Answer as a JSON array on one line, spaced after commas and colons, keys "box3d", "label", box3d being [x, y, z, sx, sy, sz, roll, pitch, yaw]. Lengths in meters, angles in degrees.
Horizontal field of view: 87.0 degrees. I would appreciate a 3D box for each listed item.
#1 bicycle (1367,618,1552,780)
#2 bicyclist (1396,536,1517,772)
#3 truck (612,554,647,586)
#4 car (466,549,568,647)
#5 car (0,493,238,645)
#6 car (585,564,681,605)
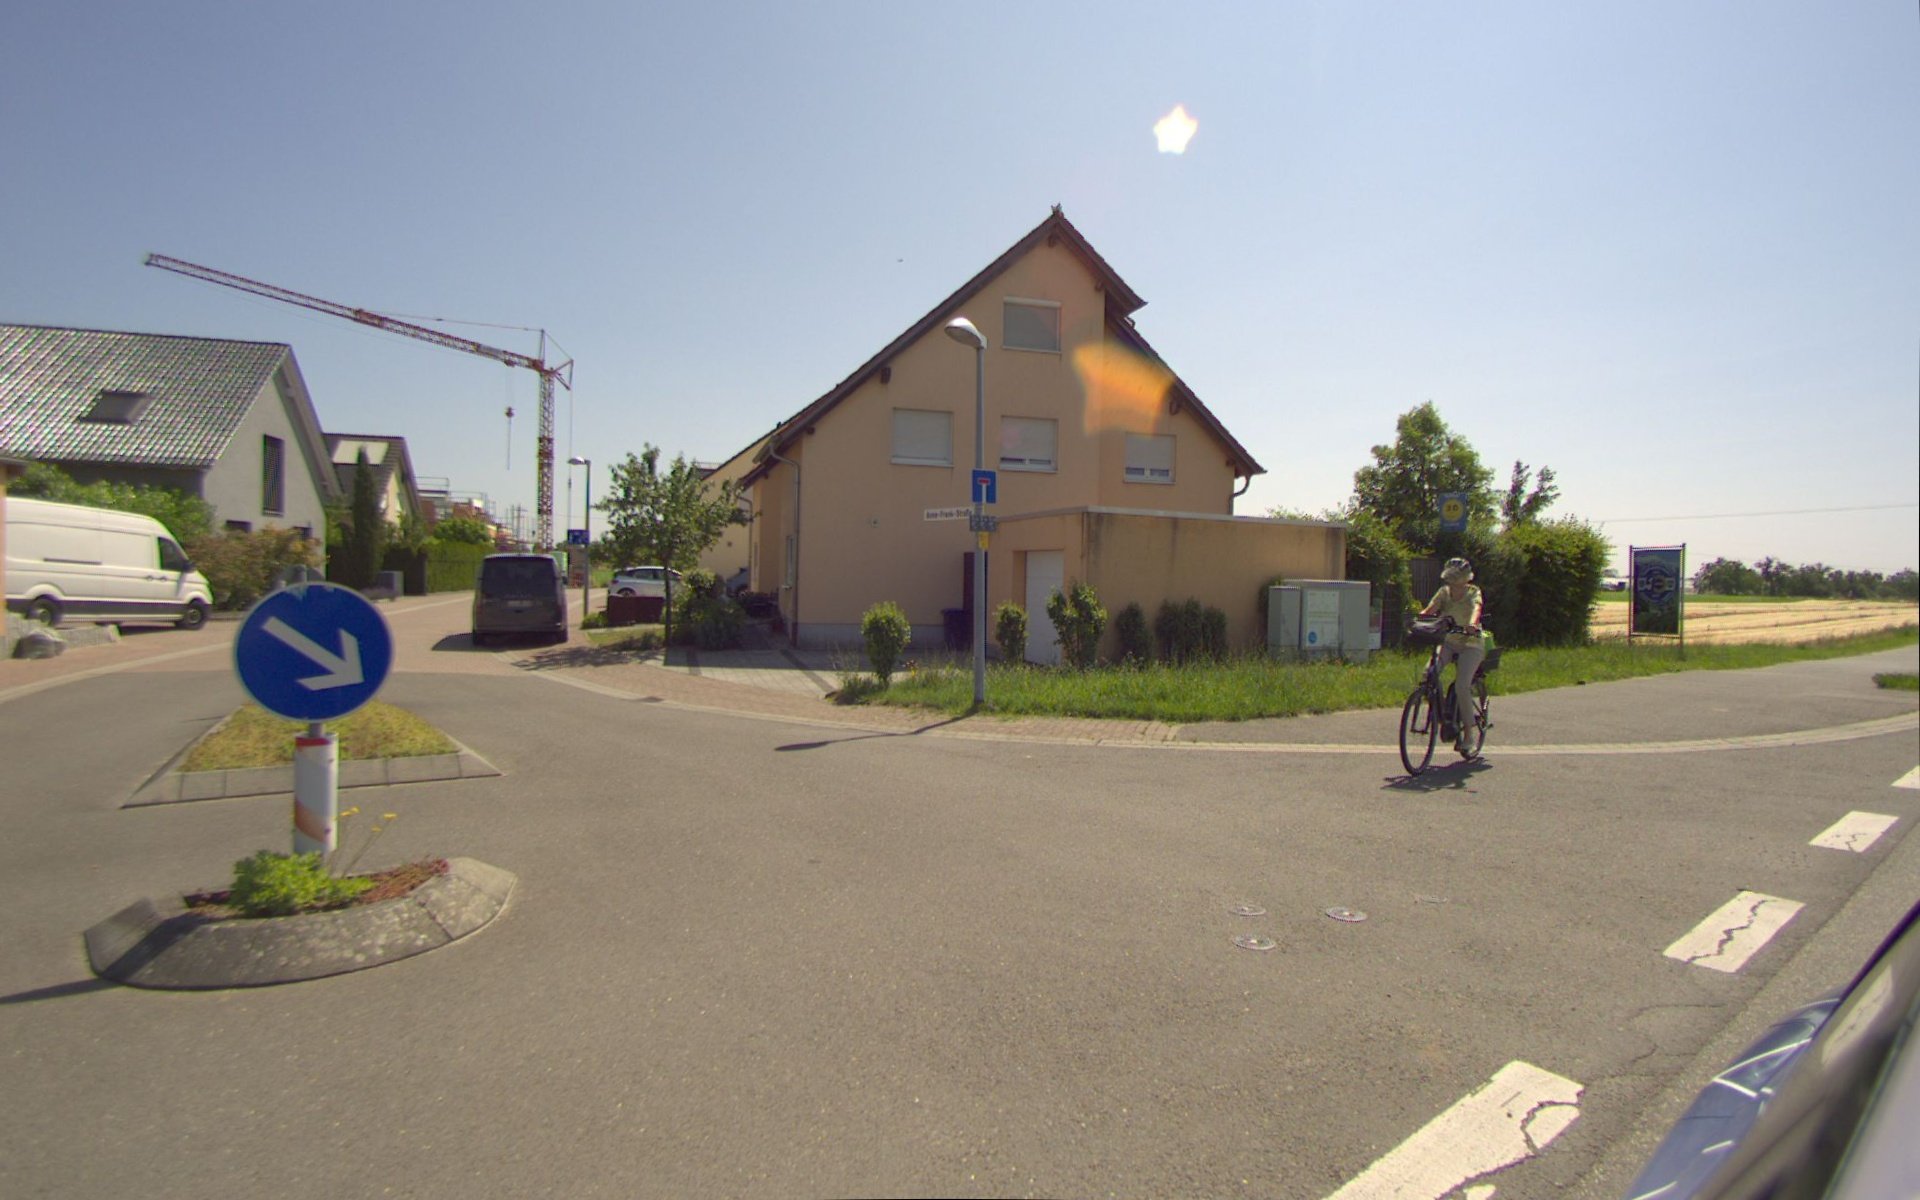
[{"box3d": [4.413, 0.790, 8.851, 2.234, 1.173, 0.611, -1, 2, -41], "label": "bicycle"}, {"box3d": [4.284, 0.423, 8.734, 0.846, 1.913, 0.646, -1, 2, -41], "label": "bicyclist"}, {"box3d": [-24.584, -2.265, 75.480, 2.168, 2.257, 5.586, 1, 2, -15], "label": "truck"}, {"box3d": [-10.205, -0.169, 23.560, 1.958, 2.038, 4.504, -1, 3, -21], "label": "car"}, {"box3d": [-18.390, -0.686, 21.039, 2.411, 2.661, 6.882, 3, 1, -7], "label": "car"}, {"box3d": [-12.779, -0.615, 39.680, 3.484, 1.496, 1.758, 1, 2, -16], "label": "car"}]
